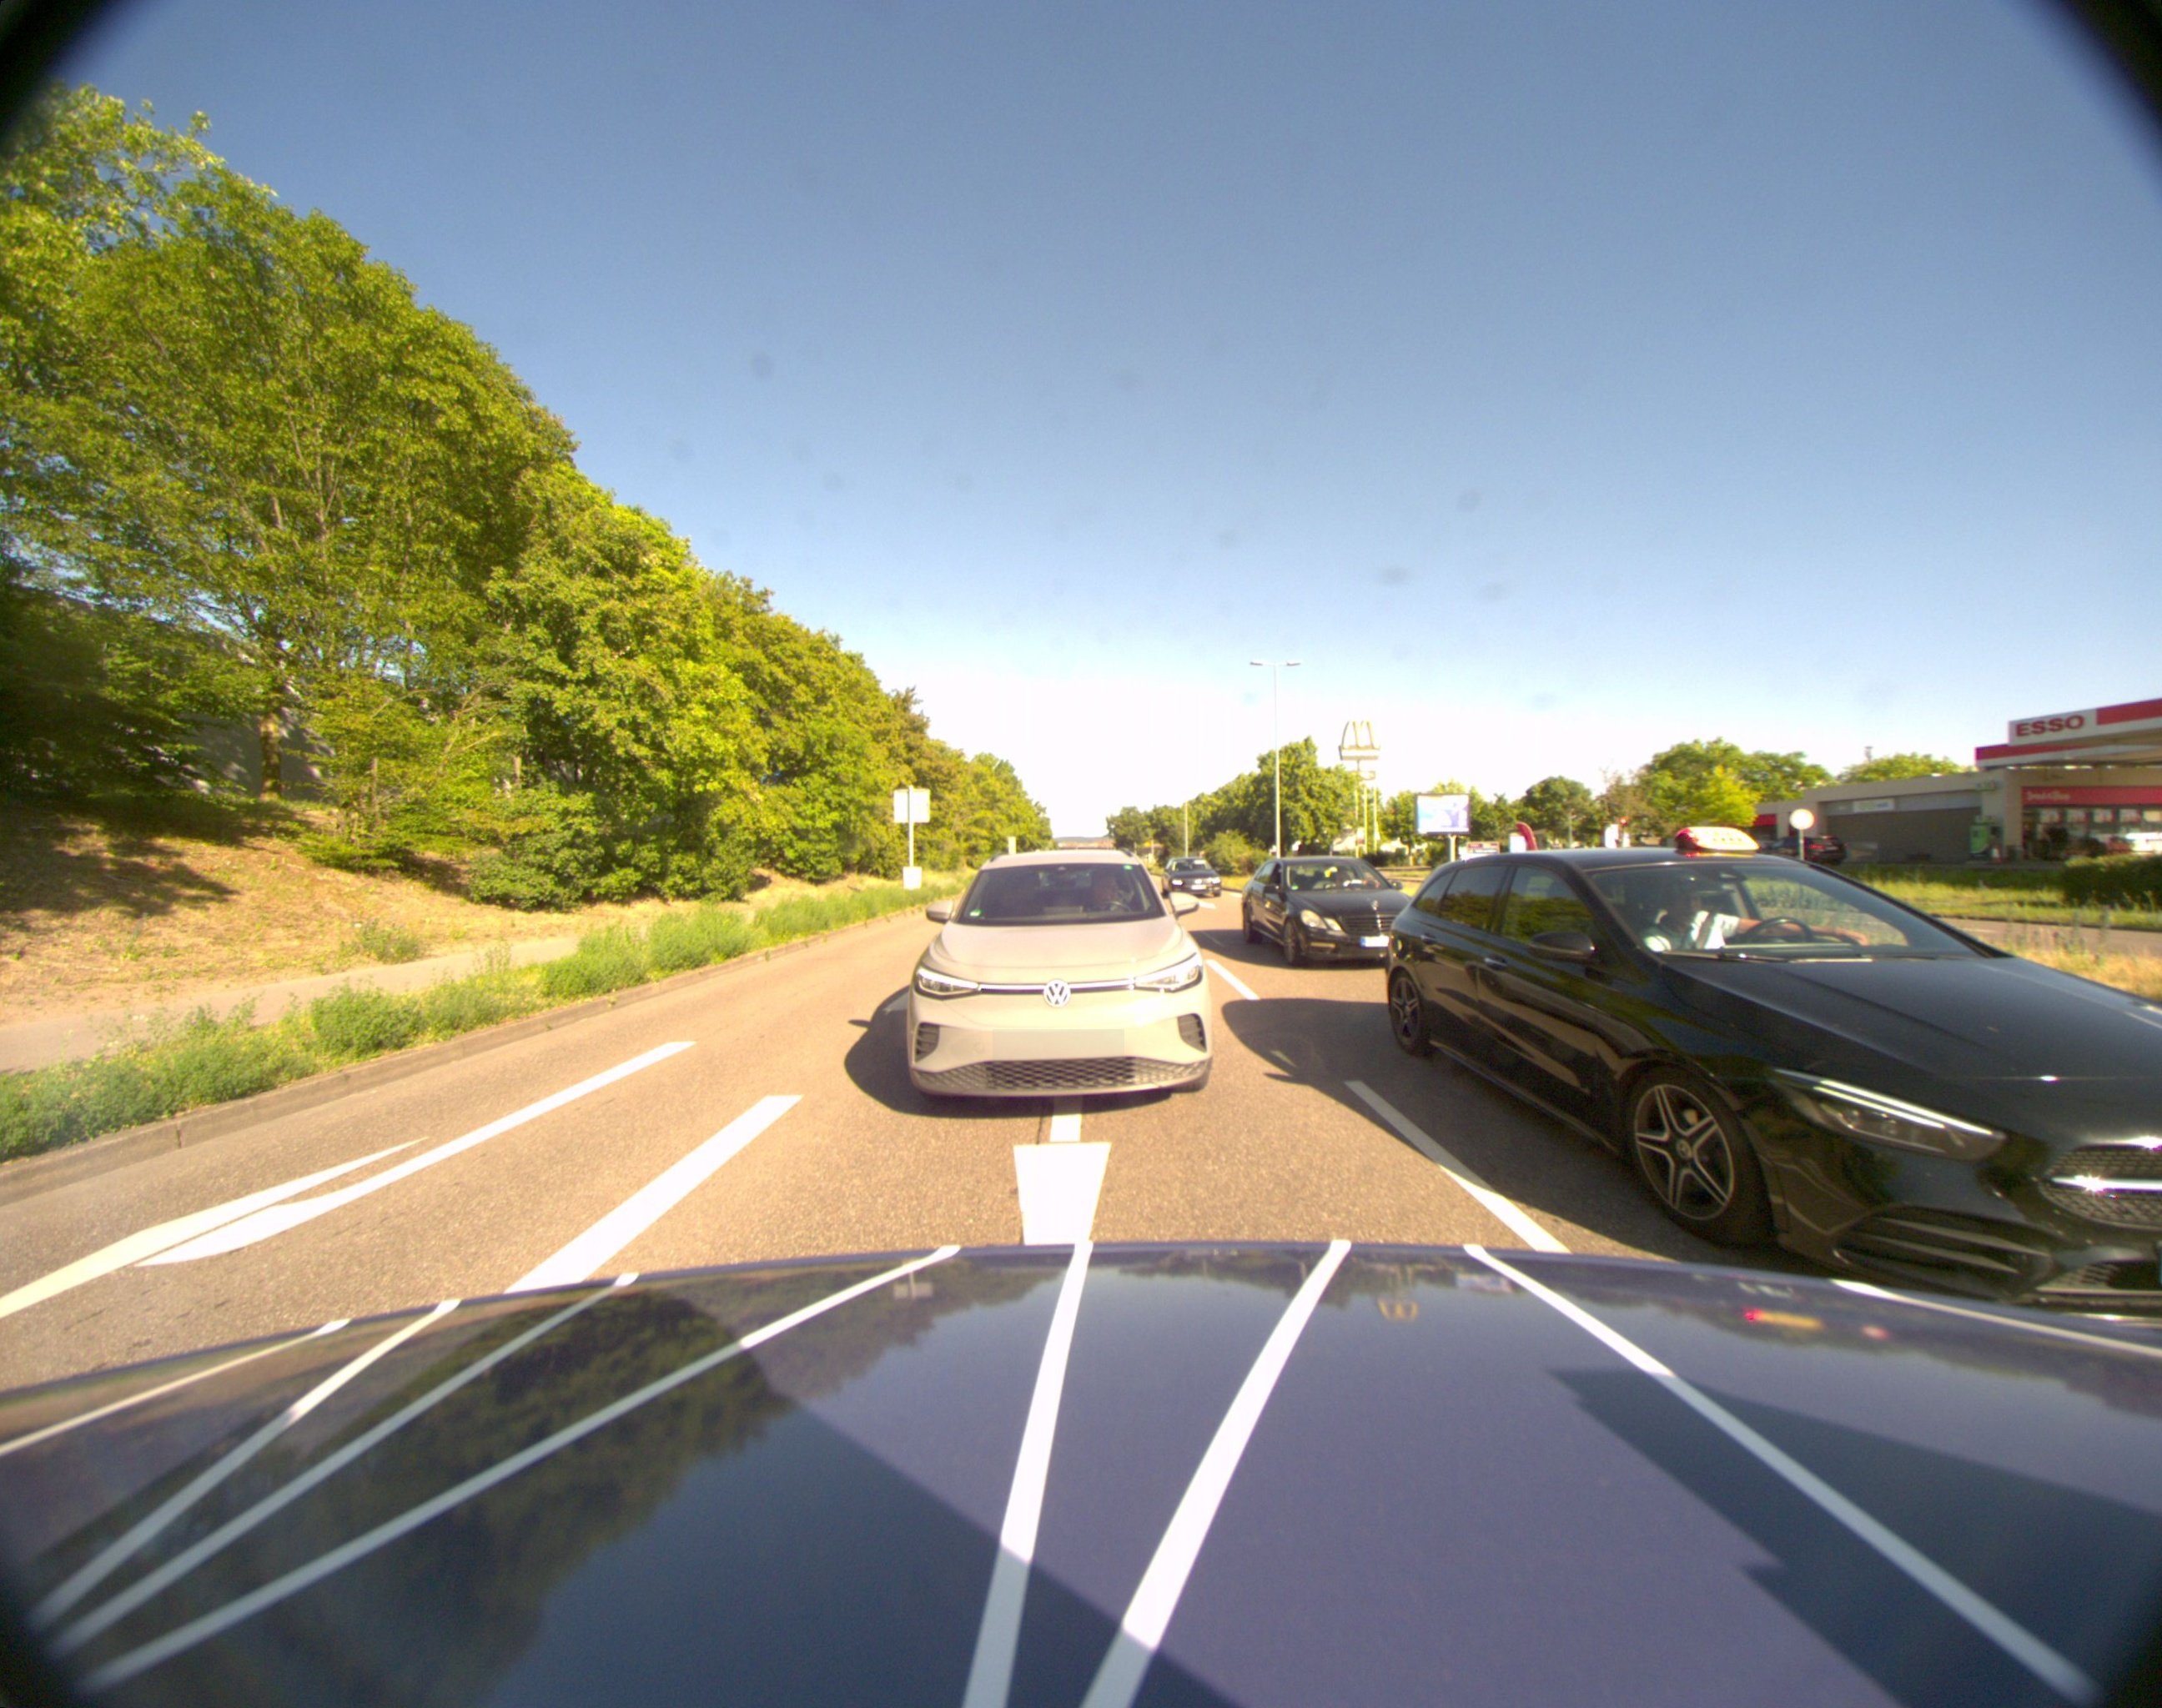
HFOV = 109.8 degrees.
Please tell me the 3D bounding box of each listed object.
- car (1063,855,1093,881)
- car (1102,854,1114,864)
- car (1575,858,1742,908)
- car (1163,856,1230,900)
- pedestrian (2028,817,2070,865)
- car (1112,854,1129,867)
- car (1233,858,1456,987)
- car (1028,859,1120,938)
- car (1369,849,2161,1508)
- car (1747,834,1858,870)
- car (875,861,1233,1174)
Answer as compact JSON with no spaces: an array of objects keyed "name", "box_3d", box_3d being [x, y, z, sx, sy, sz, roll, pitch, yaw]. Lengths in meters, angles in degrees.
[{"name":"car","box_3d":[-0.164,0.859,47.102,1.765,1.503,3.760,-2,0,1]},{"name":"car","box_3d":[4.409,0.761,124.253,1.862,1.578,4.403,-1,0,1]},{"name":"car","box_3d":[19.130,0.888,25.481,1.909,1.437,4.606,1,0,-3]},{"name":"car","box_3d":[4.217,0.823,28.407,1.862,1.472,4.403,-1,0,1]},{"name":"pedestrian","box_3d":[41.585,-0.552,32.654,0.703,2.002,0.840,-1,0,1]},{"name":"car","box_3d":[4.806,0.753,92.723,1.862,1.578,4.403,-1,0,1]},{"name":"car","box_3d":[3.645,0.849,11.453,1.862,1.515,4.403,-1,0,1]},{"name":"car","box_3d":[-0.114,0.898,16.956,1.765,1.503,3.760,-2,0,1]},{"name":"car","box_3d":[3.164,0.809,3.965,1.804,1.616,4.188,-1,0,2]},{"name":"car","box_3d":[37.690,-0.104,39.864,1.998,1.759,4.118,-1,0,2]},{"name":"car","box_3d":[-0.118,0.899,6.026,1.871,1.588,3.932,-2,0,1]}]
